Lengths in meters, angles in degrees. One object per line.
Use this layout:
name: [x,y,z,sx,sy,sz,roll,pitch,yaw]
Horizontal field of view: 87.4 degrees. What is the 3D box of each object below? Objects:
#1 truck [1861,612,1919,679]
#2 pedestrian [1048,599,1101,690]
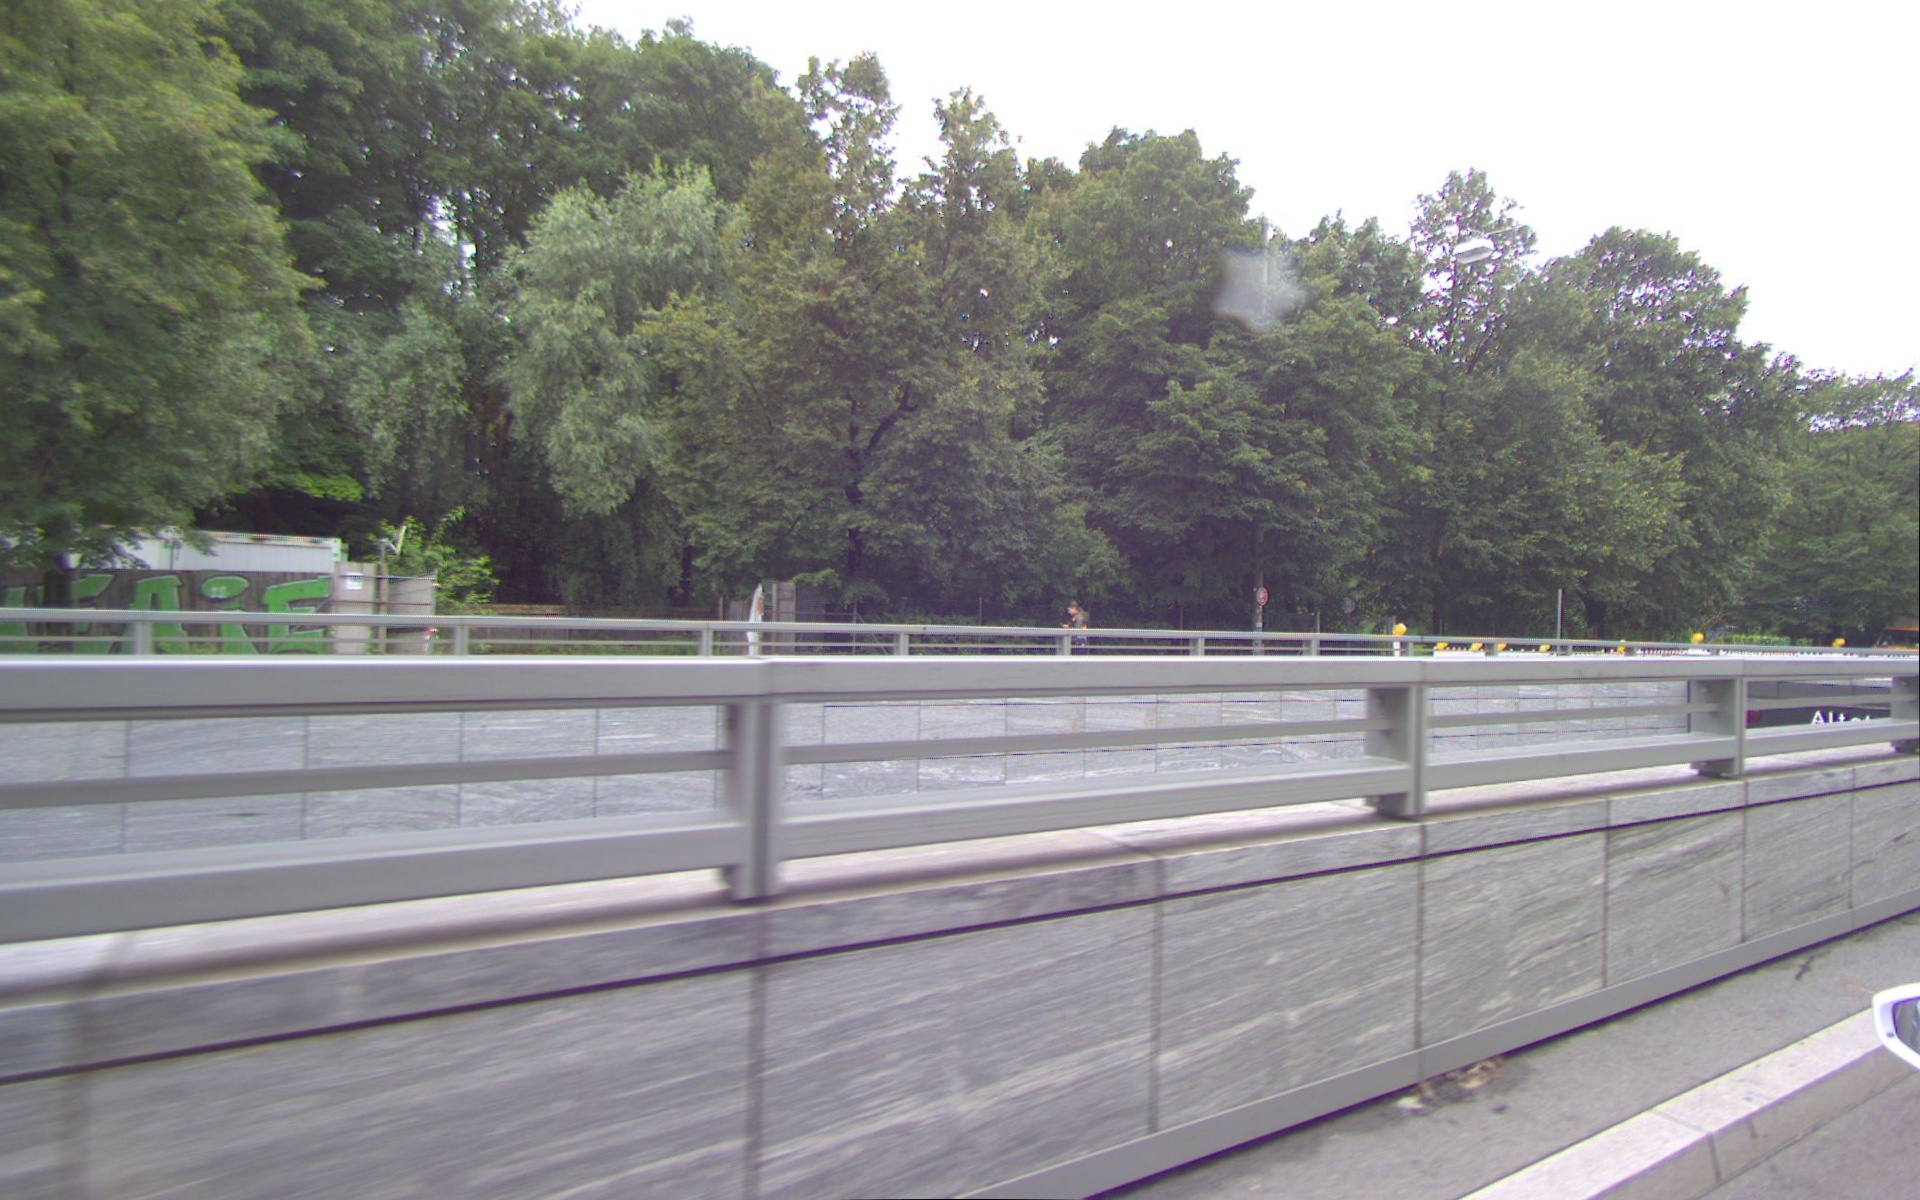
truck: [41.831,2.002,43.847,5.800,2.764,1.984,2,-1,-30]
pedestrian: [2.137,0.822,18.767,0.689,1.663,0.660,2,0,-29]
